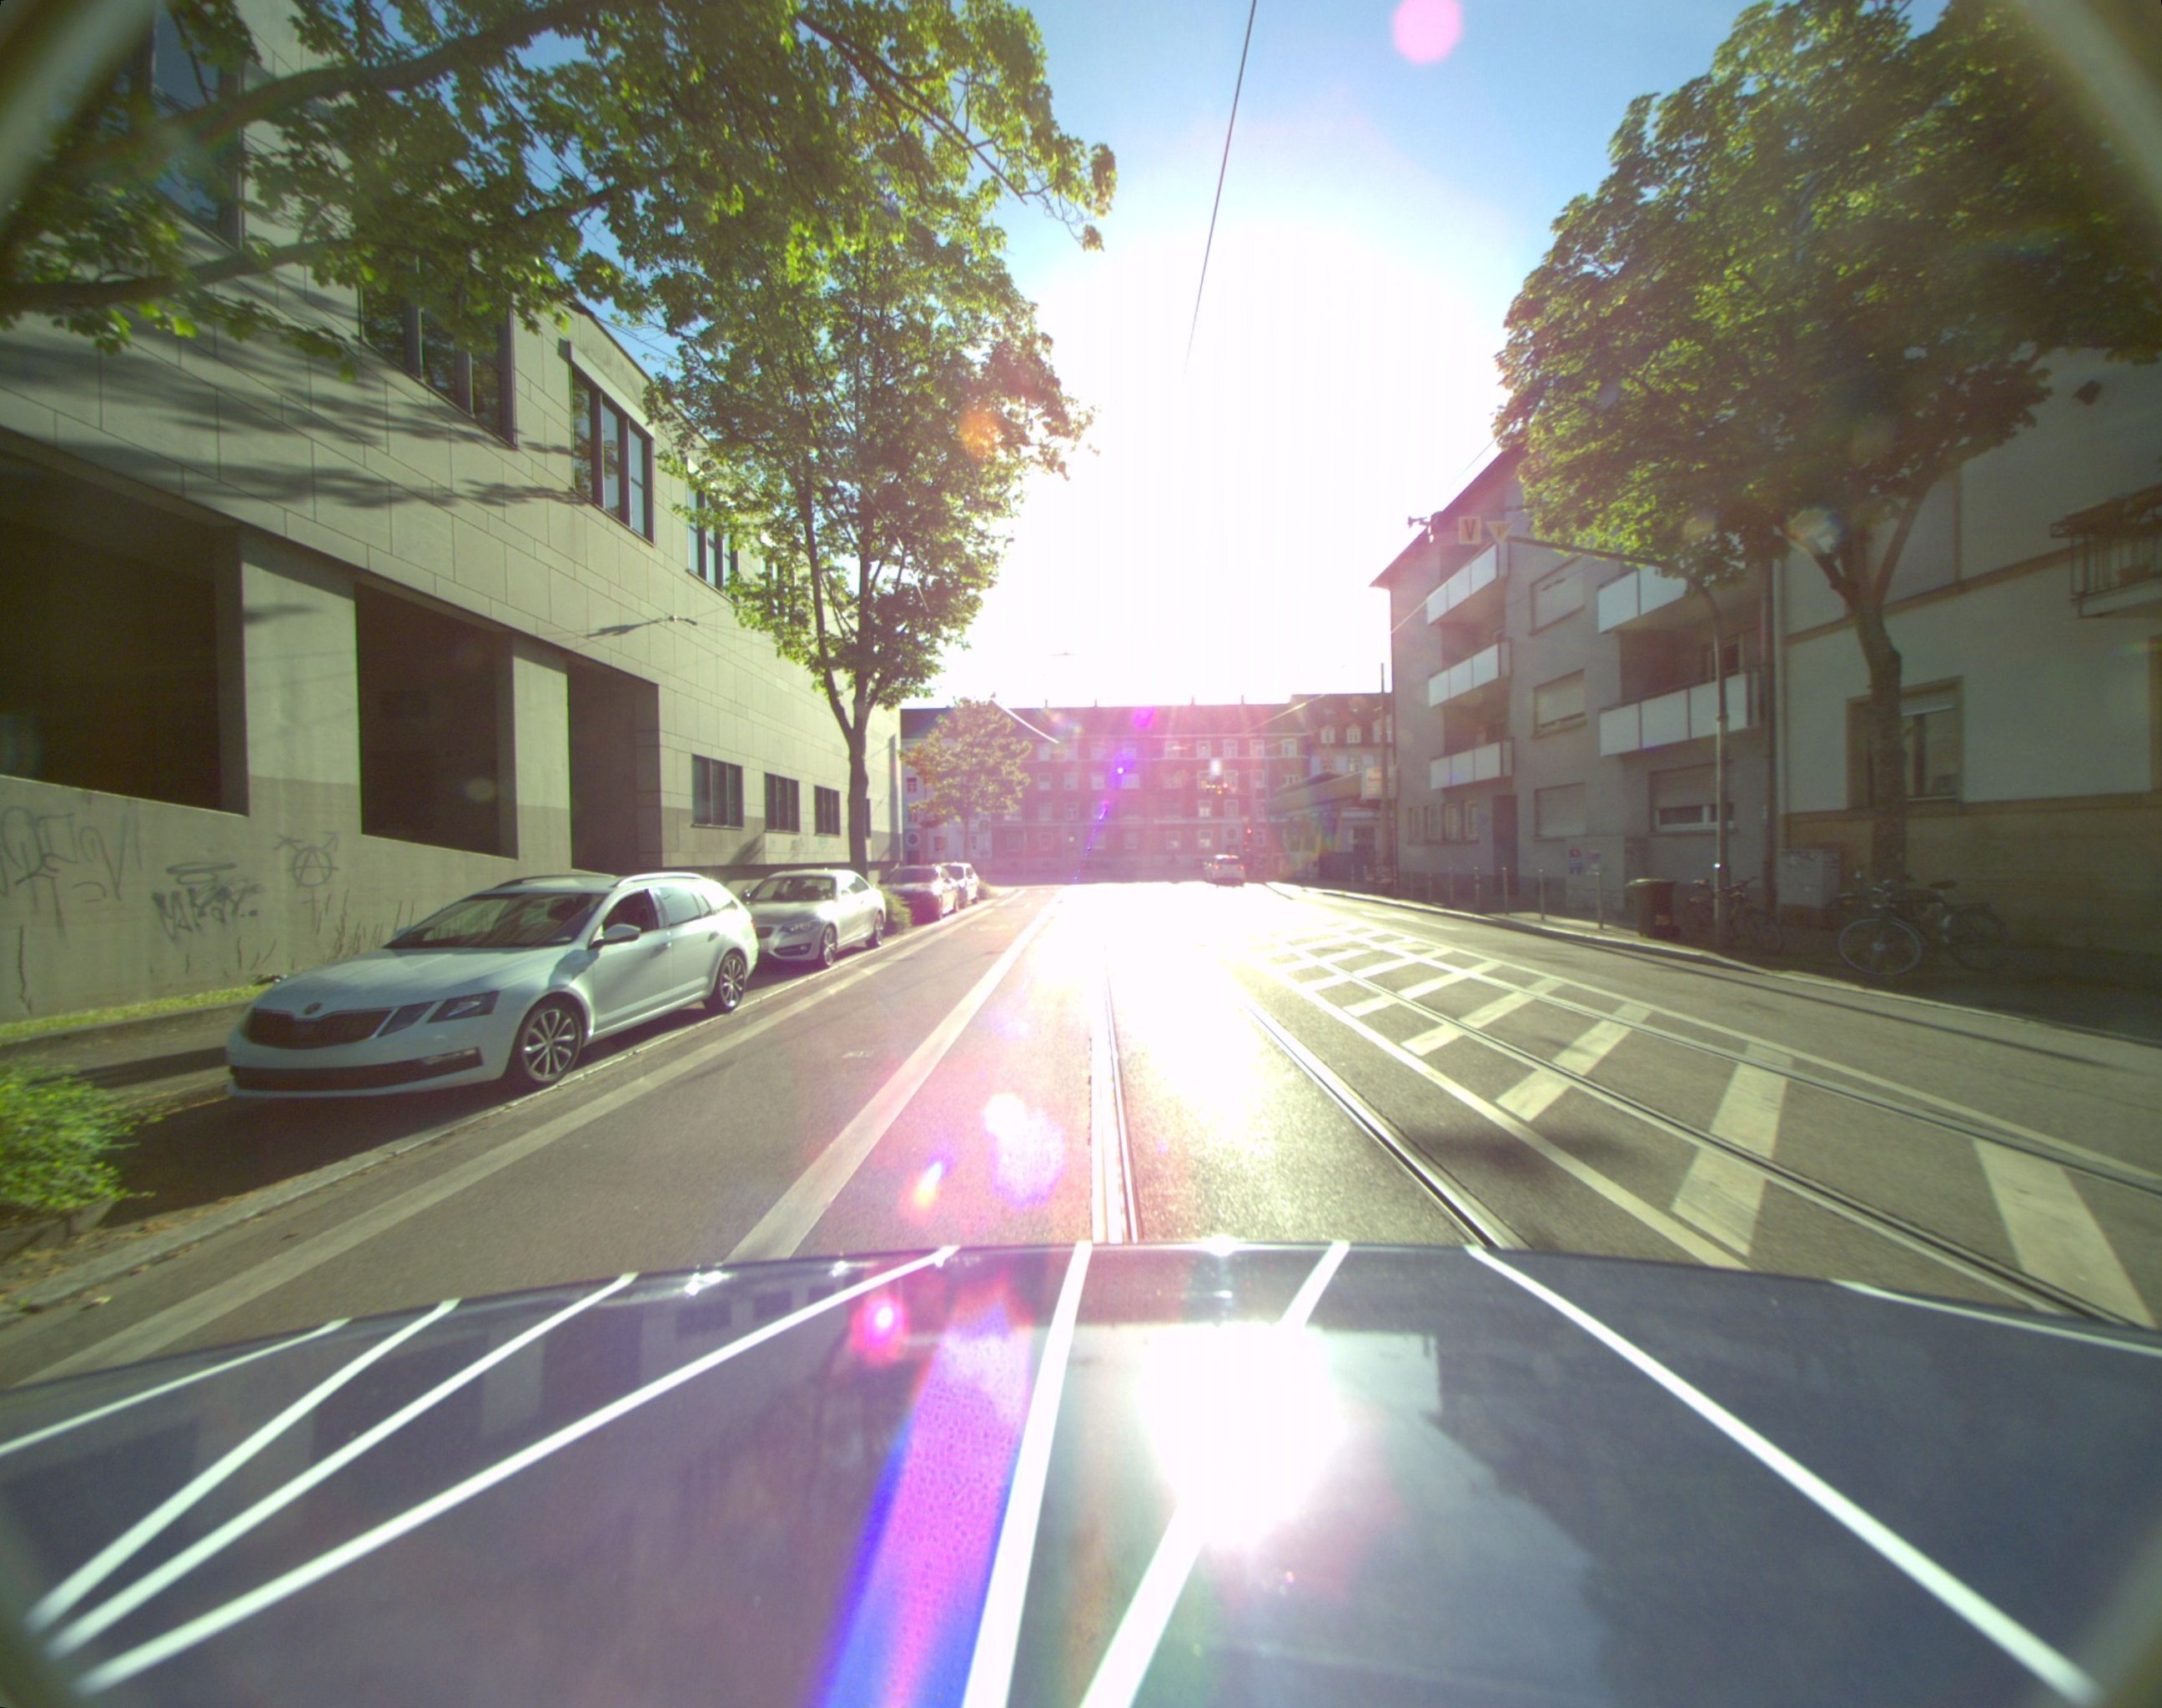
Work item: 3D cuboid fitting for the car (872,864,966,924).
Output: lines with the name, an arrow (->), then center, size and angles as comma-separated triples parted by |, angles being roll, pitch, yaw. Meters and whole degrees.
car -> -4.396, 1.029, 21.286 | 1.682, 1.399, 4.660 | 0, 1, -1

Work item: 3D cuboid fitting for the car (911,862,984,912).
car -> -4.528, 1.068, 26.313 | 1.654, 1.471, 4.000 | -2, 1, 1

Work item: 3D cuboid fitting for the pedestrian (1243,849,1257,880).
pedestrian -> 9.795, 0.583, 44.161 | 0.640, 1.764, 0.583 | -2, 1, 1

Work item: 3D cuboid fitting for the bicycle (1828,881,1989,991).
bicycle -> 9.400, 0.925, 8.652 | 1.344, 1.163, 0.409 | -2, 1, 2

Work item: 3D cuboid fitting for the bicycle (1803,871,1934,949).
bicycle -> 11.992, 0.818, 11.637 | 0.303, 1.036, 1.661 | -2, 1, 1

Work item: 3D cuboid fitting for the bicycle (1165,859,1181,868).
bicycle -> 10.076, 1.003, 82.957 | 1.674, 0.943, 0.555 | -2, 1, 18

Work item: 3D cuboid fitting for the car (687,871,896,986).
car -> -4.449, 1.063, 12.449 | 1.713, 1.399, 4.328 | 0, 1, 1

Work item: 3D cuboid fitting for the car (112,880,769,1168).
car -> -4.550, 1.040, 6.578 | 1.716, 1.481, 4.623 | 0, 0, 1

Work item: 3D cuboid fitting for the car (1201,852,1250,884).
car -> 7.667, 0.720, 40.730 | 1.923, 1.516, 4.000 | -2, 1, 1

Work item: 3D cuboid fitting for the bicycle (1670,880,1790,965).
bicycle -> 9.144, 0.929, 10.781 | 0.303, 1.036, 1.661 | -2, 1, 1

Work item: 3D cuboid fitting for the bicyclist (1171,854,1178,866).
bicyclist -> 10.225, 0.643, 82.900 | 0.667, 1.217, 0.555 | -2, 1, 18

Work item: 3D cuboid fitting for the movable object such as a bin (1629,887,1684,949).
movable object such as a bin -> 9.186, 1.014, 12.134 | 0.425, 0.930, 0.582 | -2, 1, 1
